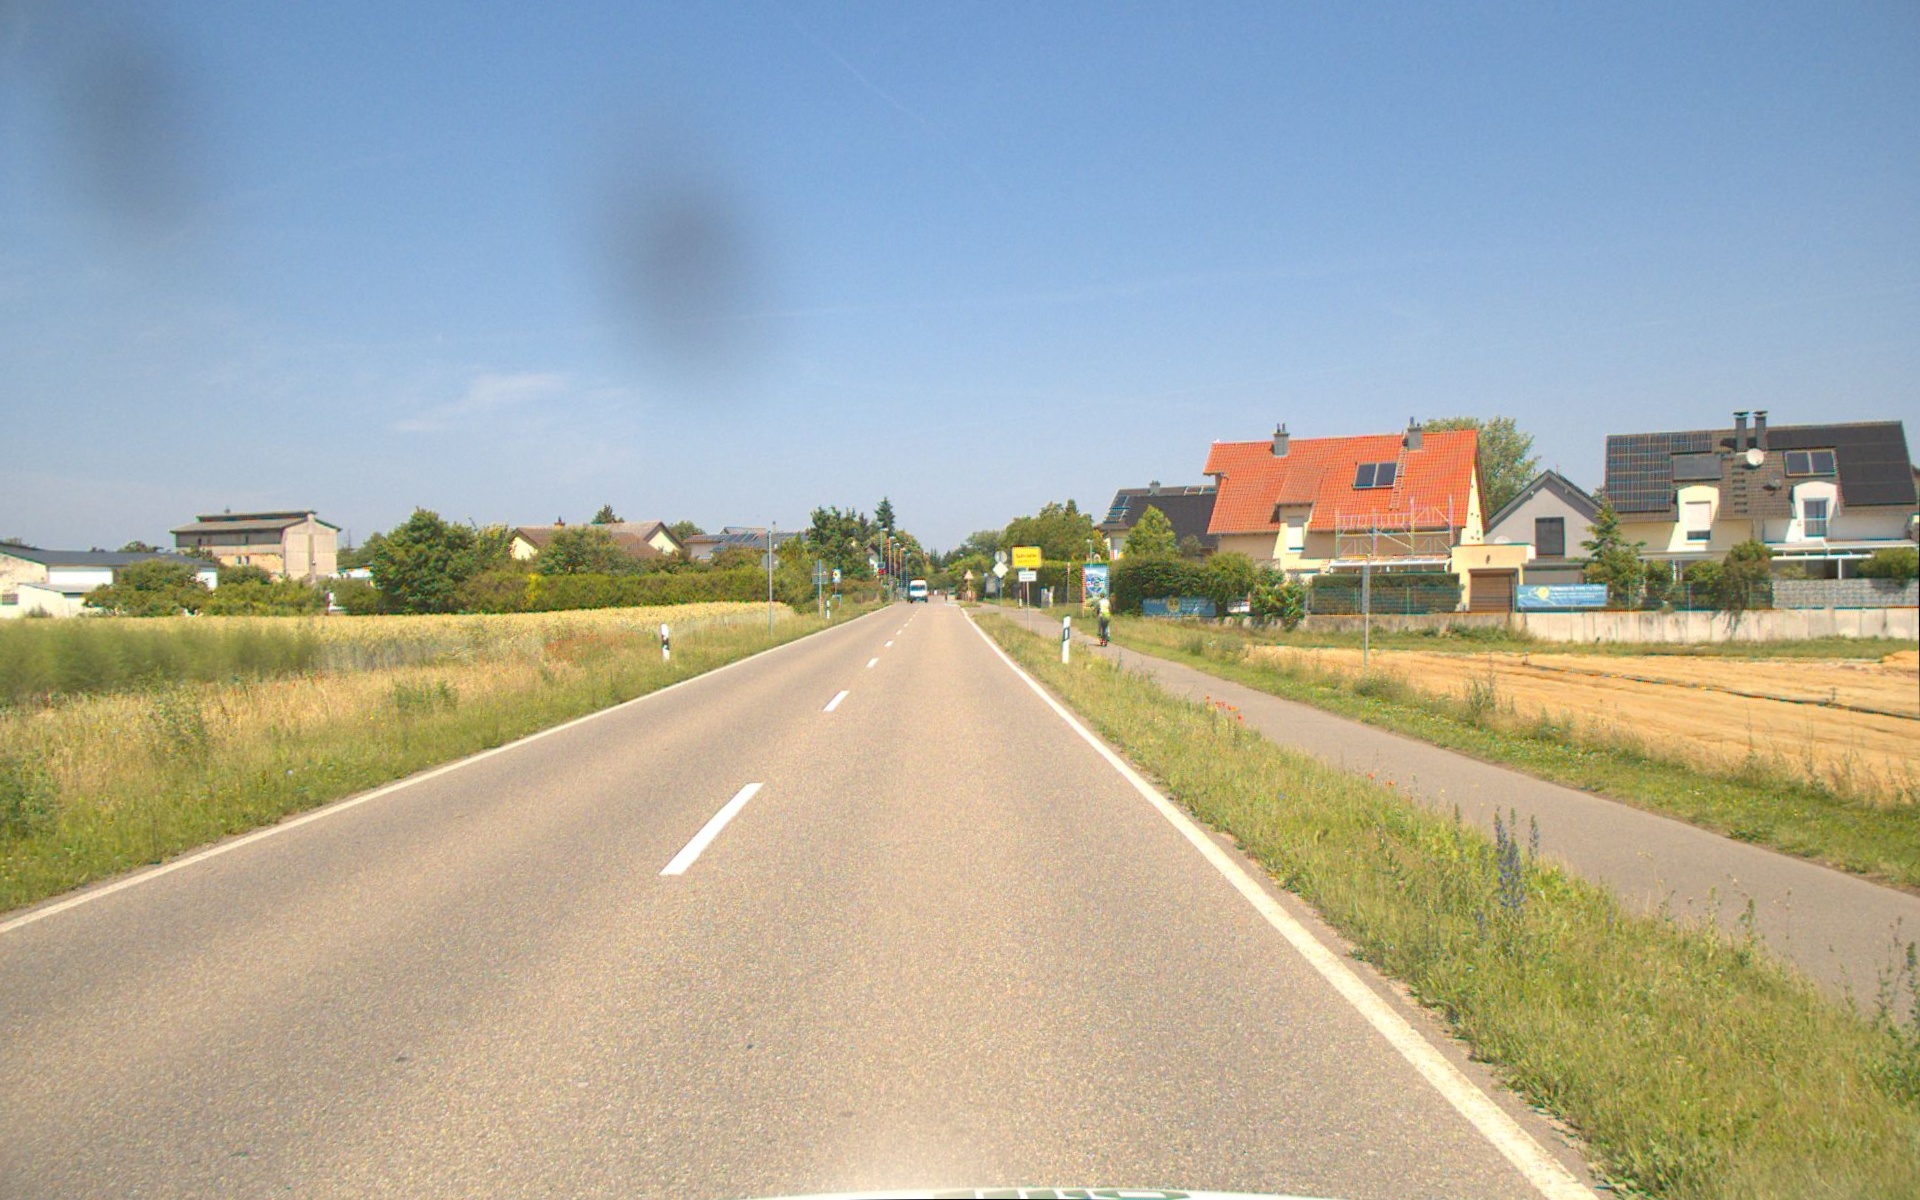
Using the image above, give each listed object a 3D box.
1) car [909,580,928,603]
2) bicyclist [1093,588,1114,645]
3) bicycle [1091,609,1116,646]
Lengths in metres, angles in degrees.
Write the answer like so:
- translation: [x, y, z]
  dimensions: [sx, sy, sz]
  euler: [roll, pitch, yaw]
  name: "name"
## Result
- translation: [-4.745, -0.992, 188.016]
  dimensions: [2.035, 2.586, 5.872]
  euler: [-2, 1, -1]
  name: "car"
- translation: [4.931, 0.555, 56.828]
  dimensions: [0.632, 1.922, 0.861]
  euler: [1, 1, -2]
  name: "bicyclist"
- translation: [4.930, 0.920, 56.934]
  dimensions: [0.598, 1.179, 2.274]
  euler: [1, 1, -1]
  name: "bicycle"
